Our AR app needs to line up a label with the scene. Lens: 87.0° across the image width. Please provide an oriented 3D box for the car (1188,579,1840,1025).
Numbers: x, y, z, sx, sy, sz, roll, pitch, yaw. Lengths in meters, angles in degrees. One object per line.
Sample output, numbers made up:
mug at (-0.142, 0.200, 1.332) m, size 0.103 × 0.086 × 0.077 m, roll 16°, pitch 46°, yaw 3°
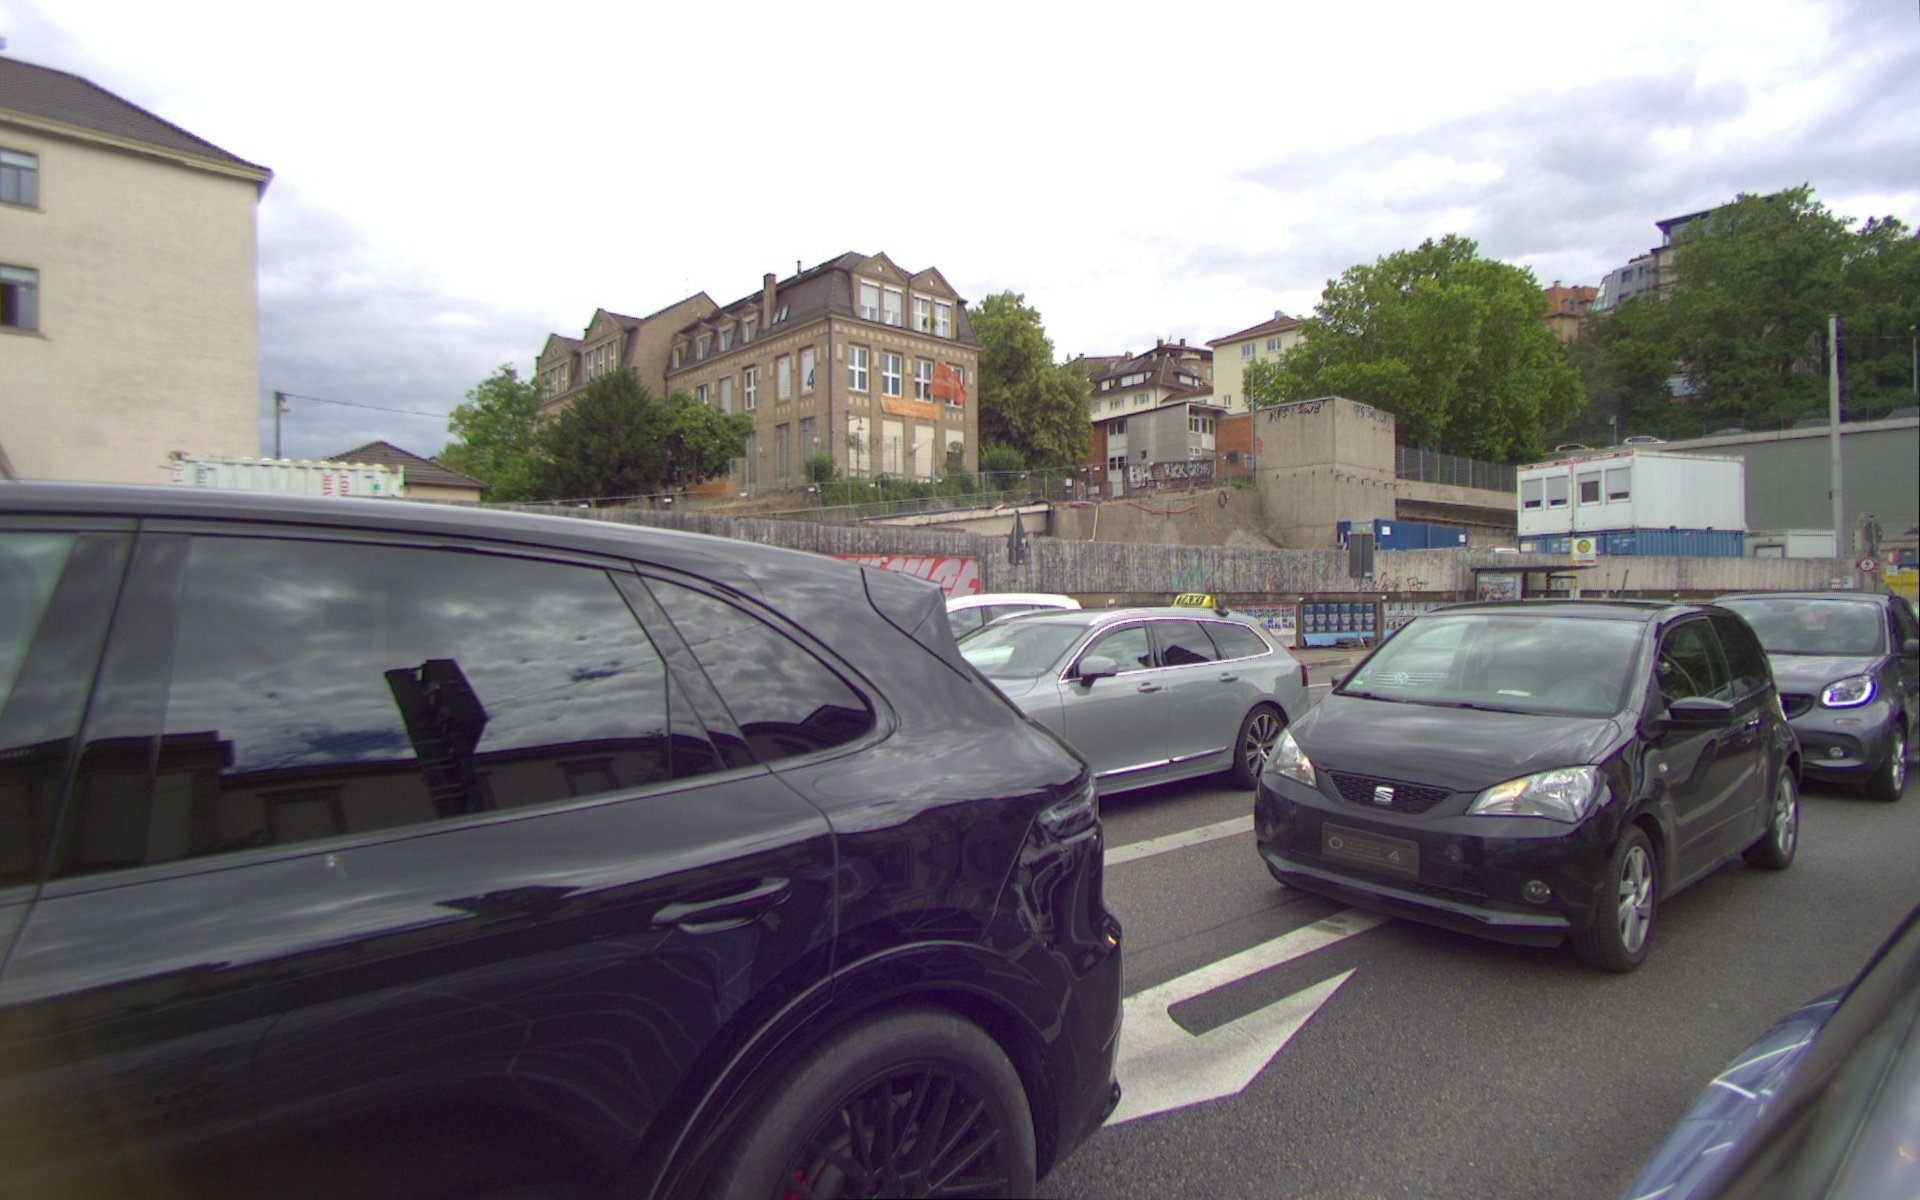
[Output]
car at (3.046, 0.647, 5.279) m, size 3.636 × 1.476 × 1.827 m, roll -1°, pitch 1°, yaw -41°

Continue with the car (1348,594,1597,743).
car at (5.911, 0.679, 11.625) m, size 2.667 × 1.449 × 1.664 m, roll -1°, pitch 1°, yaw -41°

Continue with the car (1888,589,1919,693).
car at (15.648, 0.577, 15.410) m, size 3.738 × 1.477 × 1.680 m, roll -1°, pitch 1°, yaw -38°

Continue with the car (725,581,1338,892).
car at (0.797, 0.699, 7.679) m, size 4.725 × 1.645 × 1.827 m, roll -1°, pitch 1°, yaw -41°

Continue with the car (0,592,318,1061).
car at (-4.701, 0.823, 3.561) m, size 3.930 × 1.645 × 1.679 m, roll -1°, pitch 1°, yaw -41°

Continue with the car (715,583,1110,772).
car at (-0.374, 0.660, 10.981) m, size 4.136 × 1.645 × 1.679 m, roll -1°, pitch 1°, yaw -41°

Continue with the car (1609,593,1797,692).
car at (12.165, 0.600, 16.503) m, size 3.740 × 1.383 × 1.679 m, roll -1°, pitch 1°, yaw -41°

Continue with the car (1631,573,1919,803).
car at (7.332, 0.587, 8.654) m, size 3.511 × 1.563 × 1.720 m, roll 0°, pitch 0°, yaw -40°

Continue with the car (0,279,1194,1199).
car at (-1.739, 0.551, 1.523) m, size 4.406 × 1.736 × 1.827 m, roll -1°, pitch 1°, yaw -41°
